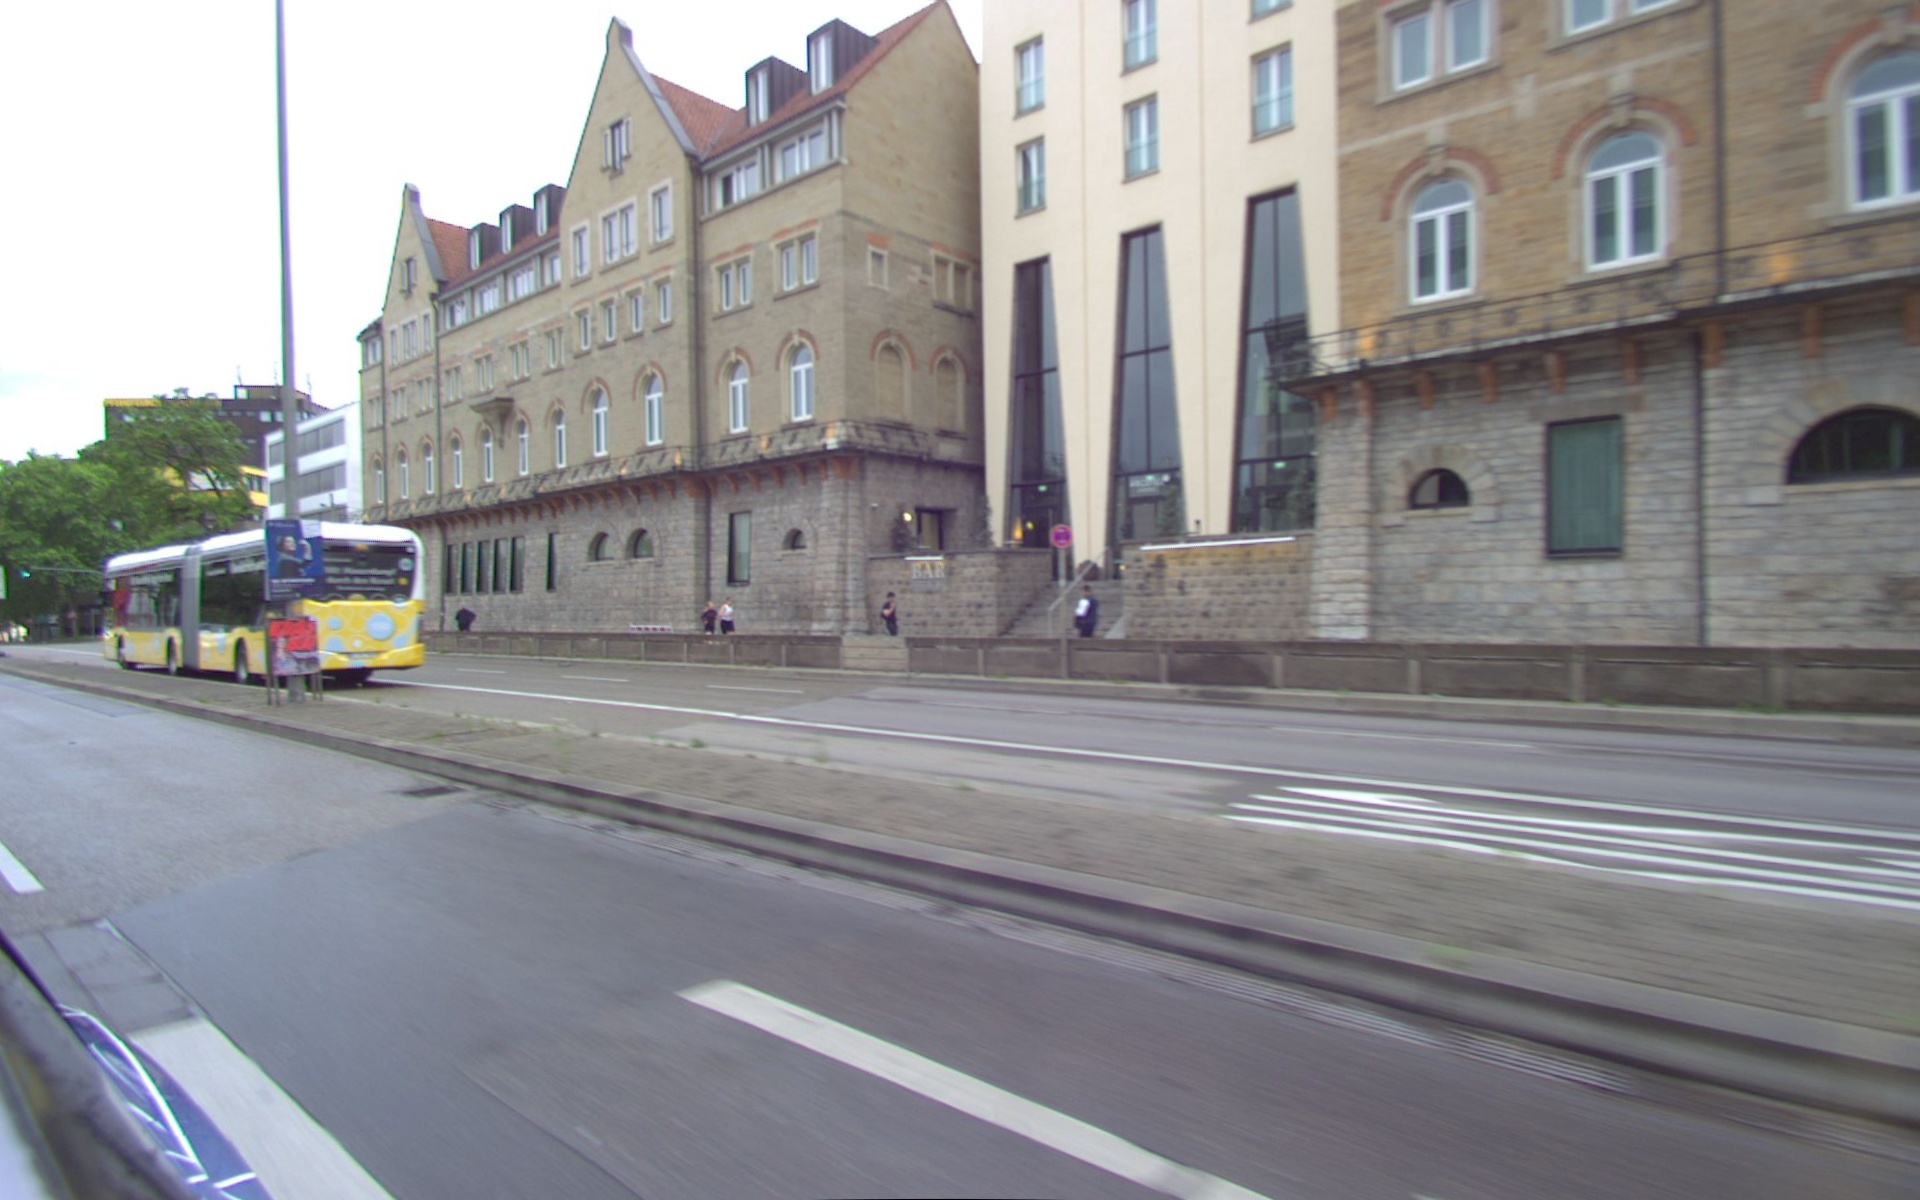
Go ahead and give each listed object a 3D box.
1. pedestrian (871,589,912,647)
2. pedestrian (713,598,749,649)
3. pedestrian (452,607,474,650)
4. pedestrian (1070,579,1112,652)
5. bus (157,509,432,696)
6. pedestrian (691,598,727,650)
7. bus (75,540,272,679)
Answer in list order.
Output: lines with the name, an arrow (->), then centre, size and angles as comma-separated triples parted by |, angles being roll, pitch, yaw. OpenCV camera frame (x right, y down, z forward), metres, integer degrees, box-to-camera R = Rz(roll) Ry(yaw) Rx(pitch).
pedestrian -> -1.802, 0.473, 26.640 | 0.713, 1.489, 0.746 | -3, -3, 40
pedestrian -> -6.824, 0.712, 30.118 | 0.713, 1.489, 0.746 | -3, -3, 40
pedestrian -> -21.033, 1.204, 42.839 | 0.621, 1.759, 0.633 | -4, -3, 43
pedestrian -> 2.765, 0.335, 21.476 | 0.746, 1.489, 0.714 | -2, -2, 1
bus -> -15.863, 0.114, 23.654 | 10.086, 3.586, 2.671 | -1, -1, 40
pedestrian -> -7.321, 0.710, 29.507 | 0.714, 1.489, 0.746 | -3, -3, 41
bus -> -23.720, 0.378, 30.261 | 10.086, 3.586, 2.671 | -2, -2, 40
